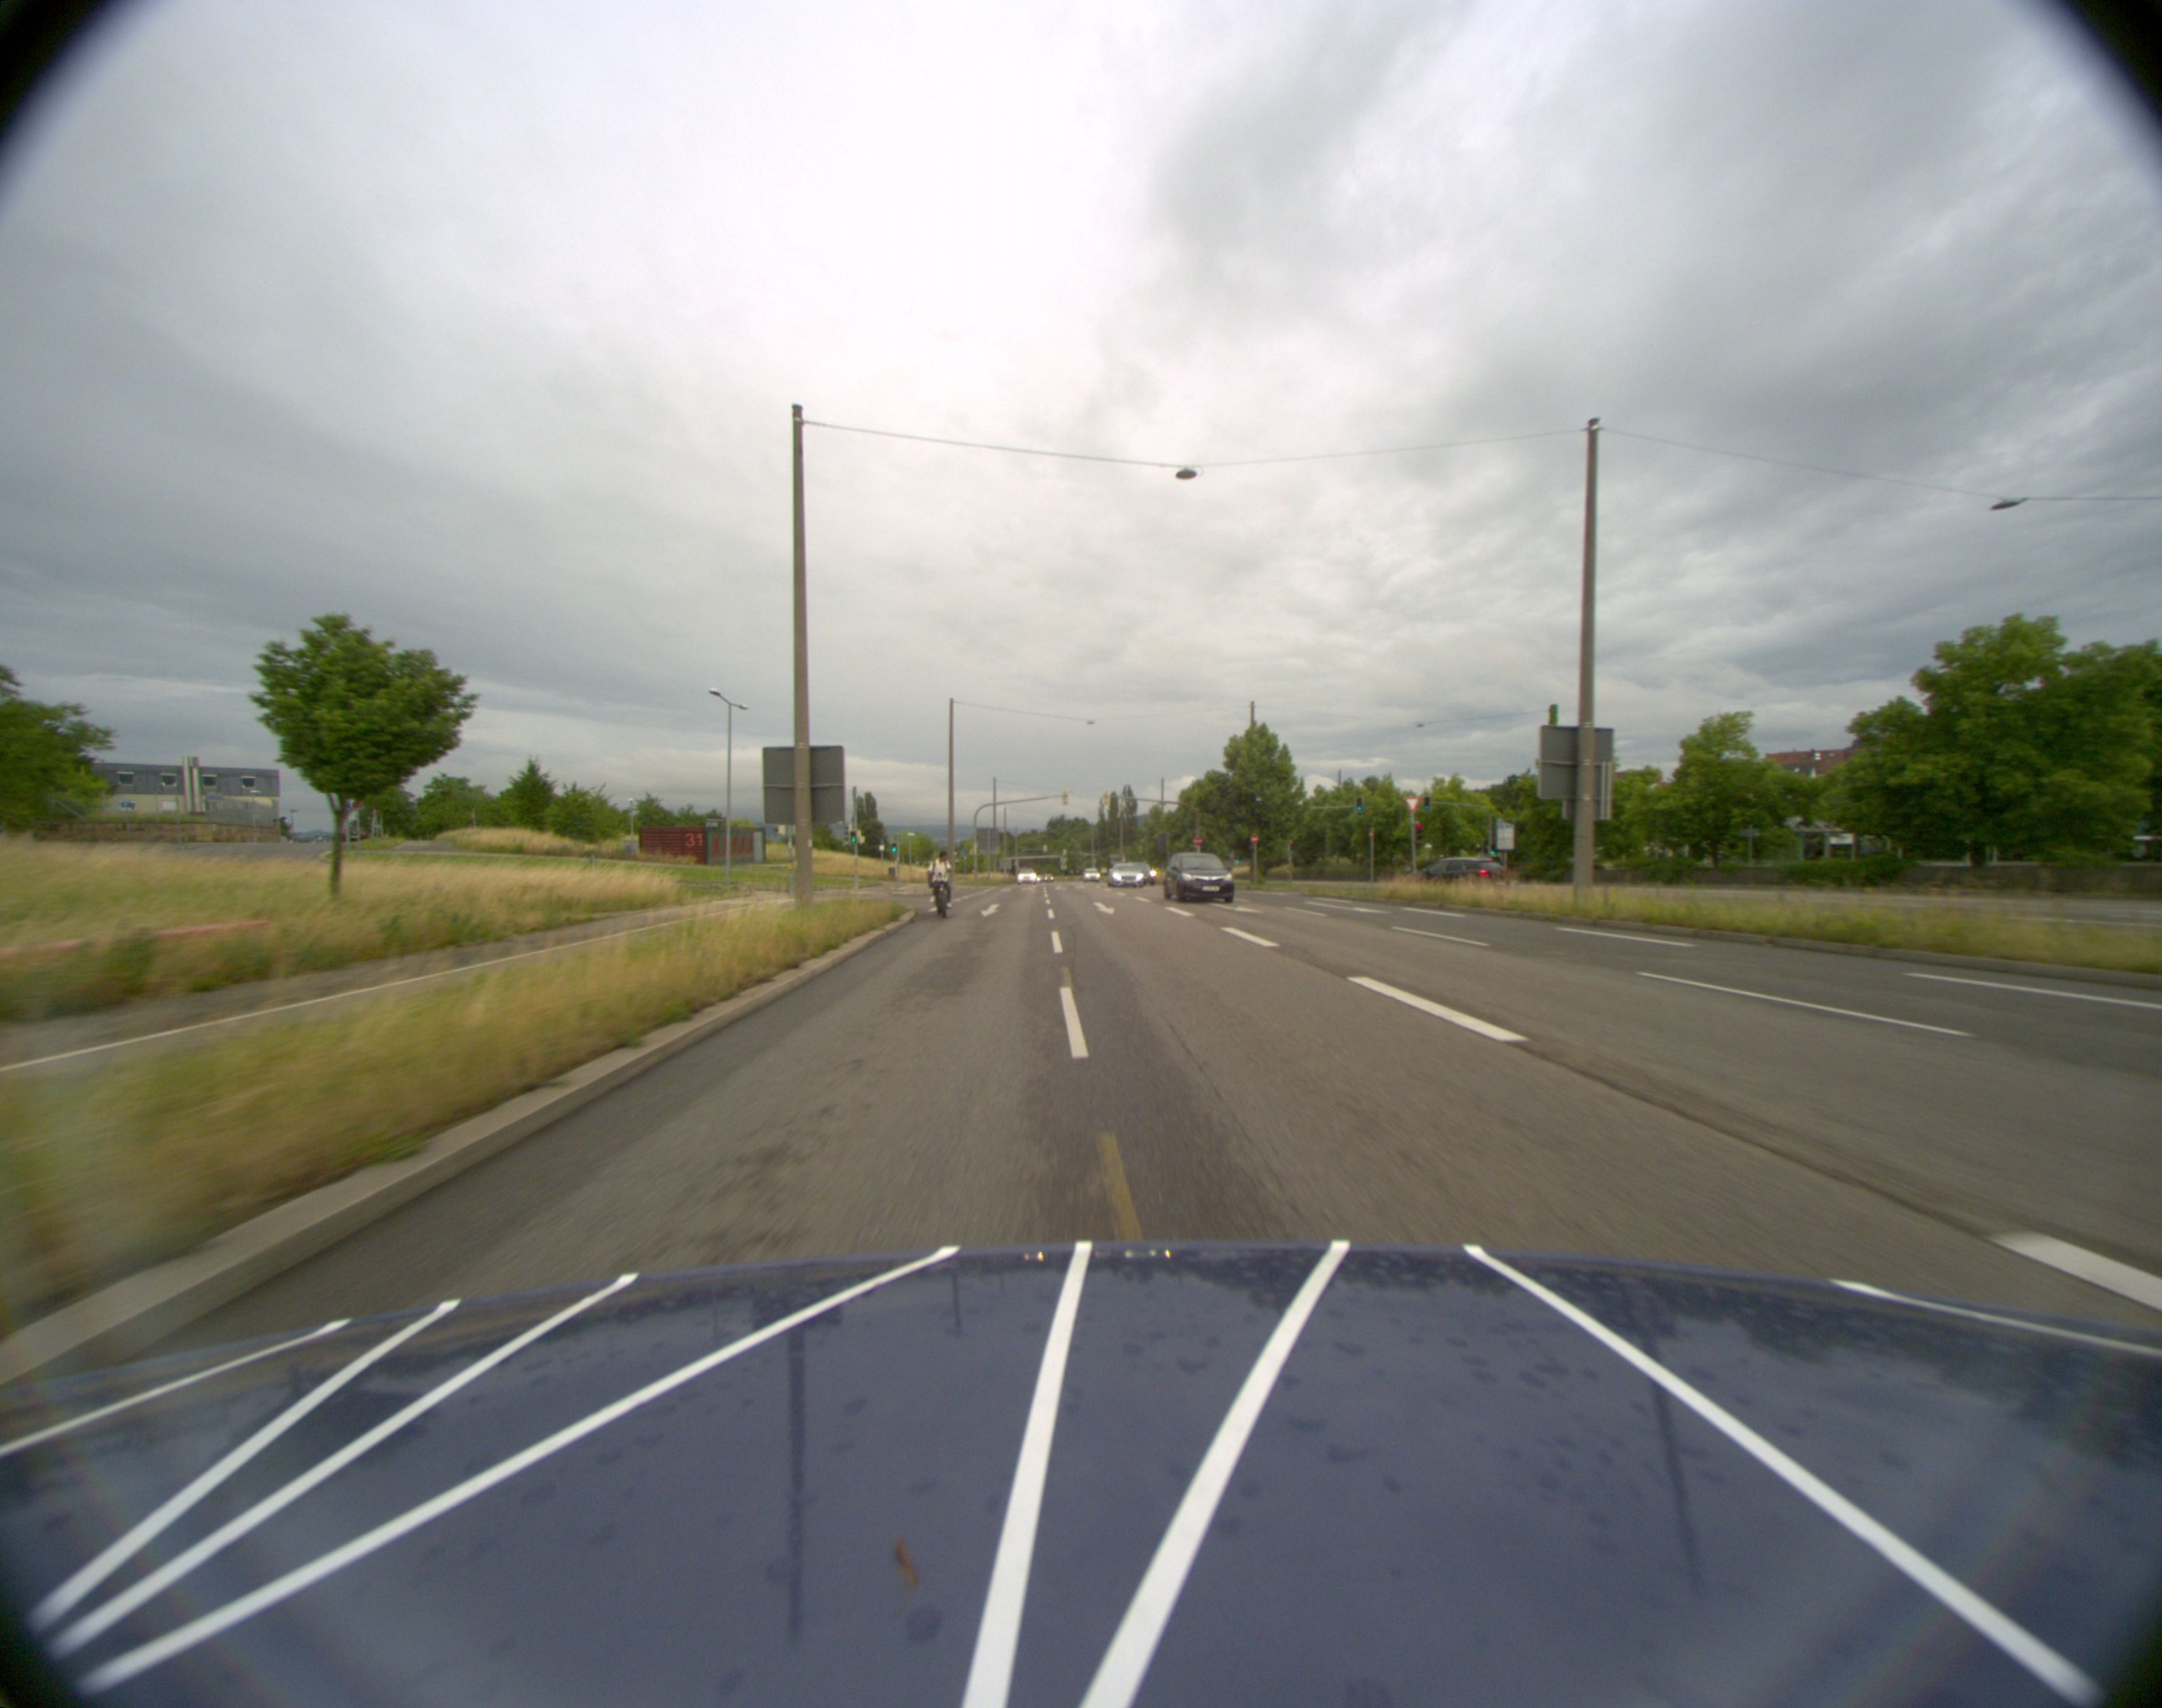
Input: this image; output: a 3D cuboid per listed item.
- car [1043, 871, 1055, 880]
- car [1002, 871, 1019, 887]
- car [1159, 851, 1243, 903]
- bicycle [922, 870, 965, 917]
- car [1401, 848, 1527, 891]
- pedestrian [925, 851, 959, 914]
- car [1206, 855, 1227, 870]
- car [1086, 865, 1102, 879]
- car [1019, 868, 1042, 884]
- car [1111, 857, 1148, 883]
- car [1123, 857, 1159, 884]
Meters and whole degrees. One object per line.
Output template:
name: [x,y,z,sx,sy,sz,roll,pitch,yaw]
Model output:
car: [-6.124,4.158,145.640,2.000,1.632,4.626,-3,-1,-7]
car: [-8.742,3.110,94.168,1.843,1.532,3.815,-4,3,-3]
car: [3.808,0.704,24.747,1.801,1.556,4.041,0,0,-4]
bicycle: [-3.546,0.973,19.496,0.635,1.098,1.749,0,1,-26]
car: [14.430,0.574,28.870,1.898,1.498,3.992,1,-1,-24]
pedestrian: [-3.574,0.721,19.552,0.635,1.562,0.893,0,1,-26]
car: [18.515,1.215,104.089,1.999,2.001,4.000,1,-1,-1]
car: [1.660,2.354,98.454,1.999,1.632,4.628,-3,-1,0]
car: [-4.775,2.062,72.828,1.725,1.513,4.229,0,-1,3]
car: [2.866,0.964,45.548,1.998,1.399,4.526,-3,-1,2]
car: [4.309,1.186,55.317,1.999,1.849,3.999,-1,-1,-4]
